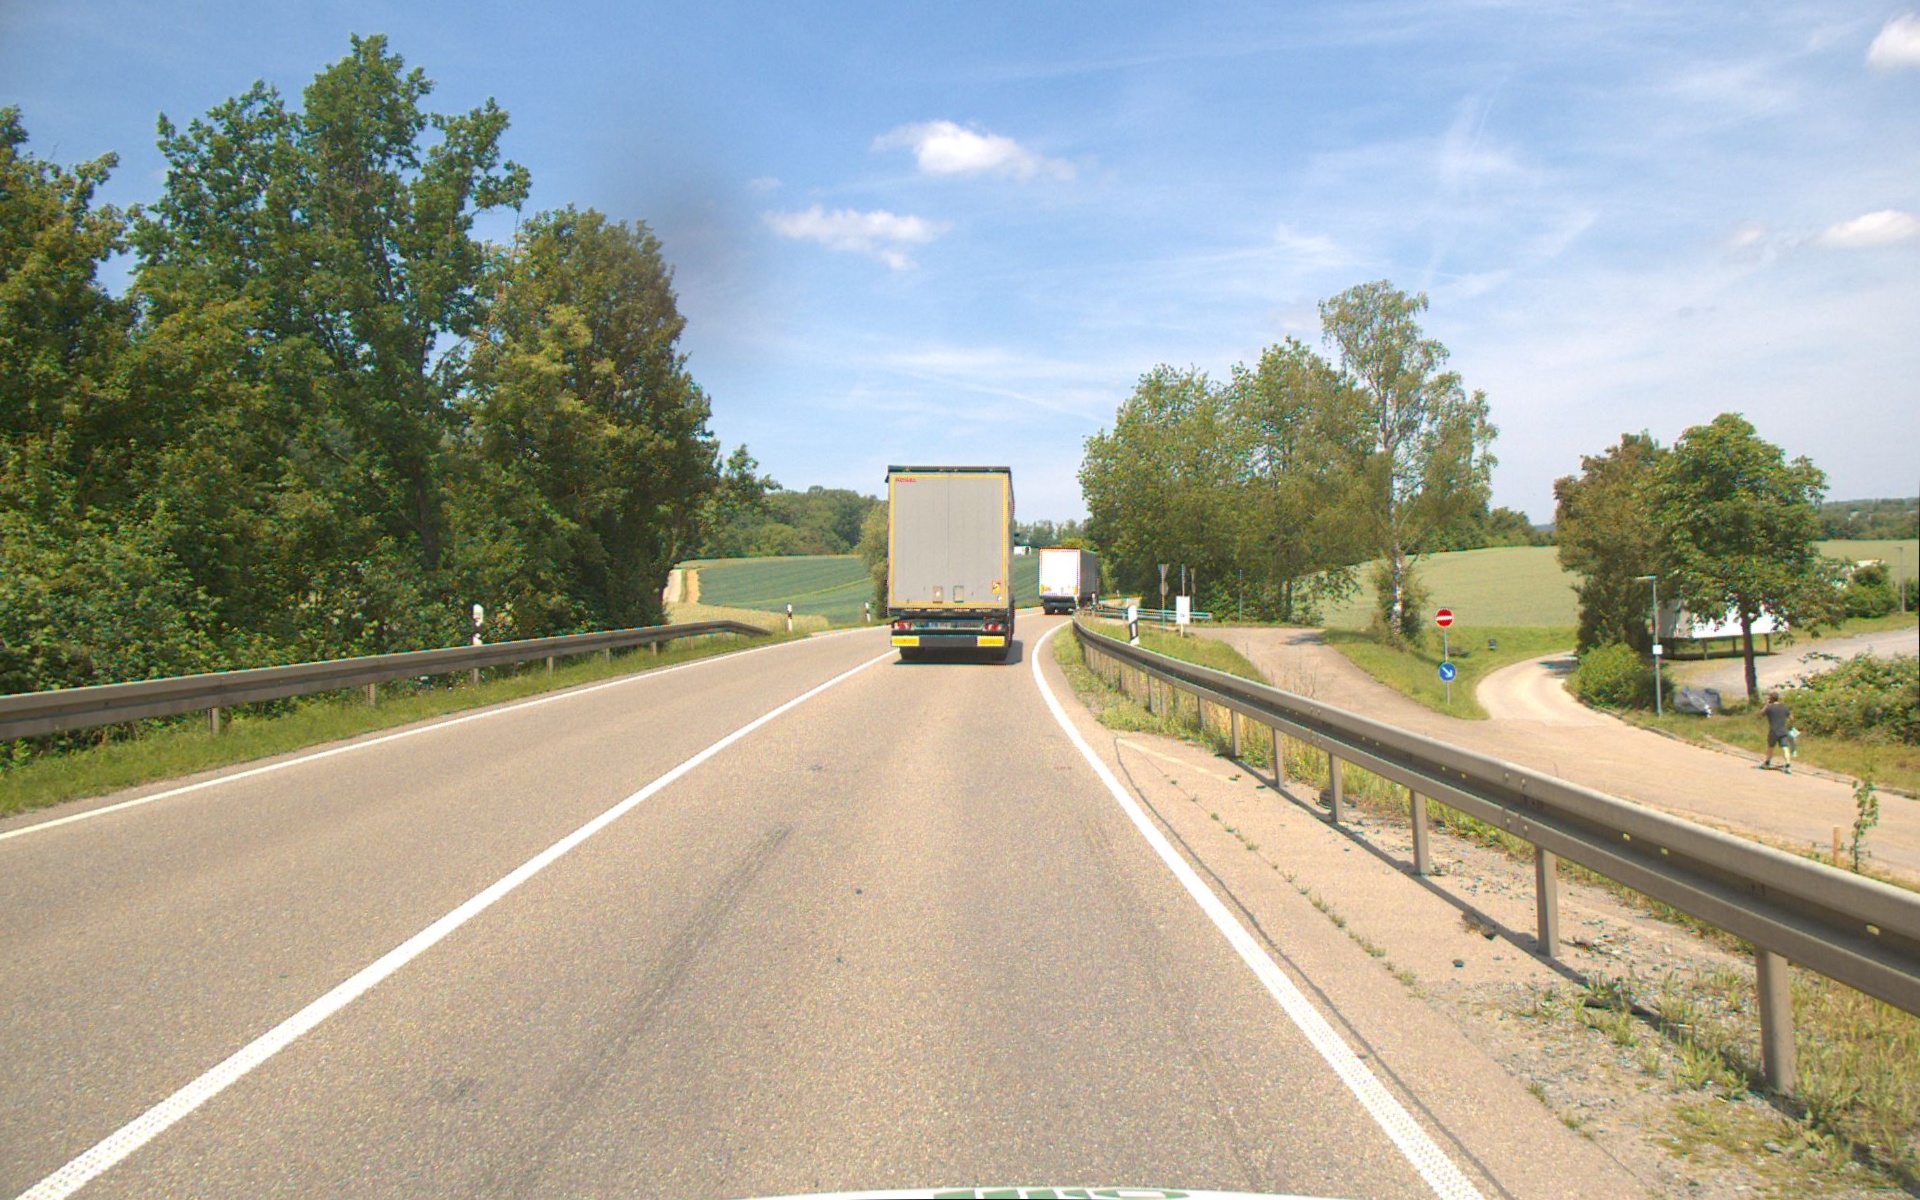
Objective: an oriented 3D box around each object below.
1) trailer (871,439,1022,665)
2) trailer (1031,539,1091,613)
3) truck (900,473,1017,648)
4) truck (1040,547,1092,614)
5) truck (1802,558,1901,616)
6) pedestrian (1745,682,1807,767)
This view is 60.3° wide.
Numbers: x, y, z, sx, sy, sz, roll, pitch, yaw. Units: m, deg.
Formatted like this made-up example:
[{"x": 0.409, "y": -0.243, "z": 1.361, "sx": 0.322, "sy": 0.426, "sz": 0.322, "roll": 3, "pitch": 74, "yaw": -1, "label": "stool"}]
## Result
[{"x": -0.114, "y": -1.021, "z": 40.416, "sx": 3.054, "sy": 4.578, "sz": 13.889, "roll": 0, "pitch": 0, "yaw": 1, "label": "trailer"}, {"x": 6.668, "y": -1.384, "z": 106.912, "sx": 3.294, "sy": 4.393, "sz": 13.872, "roll": 0, "pitch": -1, "yaw": 6, "label": "trailer"}, {"x": 0.041, "y": -1.068, "z": 46.763, "sx": 3.054, "sy": 4.573, "sz": 6.812, "roll": 0, "pitch": 0, "yaw": 1, "label": "truck"}, {"x": 7.267, "y": -1.277, "z": 112.779, "sx": 3.294, "sy": 4.393, "sz": 6.744, "roll": 0, "pitch": -1, "yaw": 6, "label": "truck"}, {"x": 60.067, "y": -0.889, "z": 111.370, "sx": 7.062, "sy": 3.597, "sz": 3.111, "roll": -3, "pitch": 0, "yaw": -37, "label": "truck"}, {"x": 18.845, "y": 2.862, "z": 38.209, "sx": 0.867, "sy": 1.842, "sz": 0.959, "roll": -3, "pitch": 0, "yaw": 0, "label": "pedestrian"}]
